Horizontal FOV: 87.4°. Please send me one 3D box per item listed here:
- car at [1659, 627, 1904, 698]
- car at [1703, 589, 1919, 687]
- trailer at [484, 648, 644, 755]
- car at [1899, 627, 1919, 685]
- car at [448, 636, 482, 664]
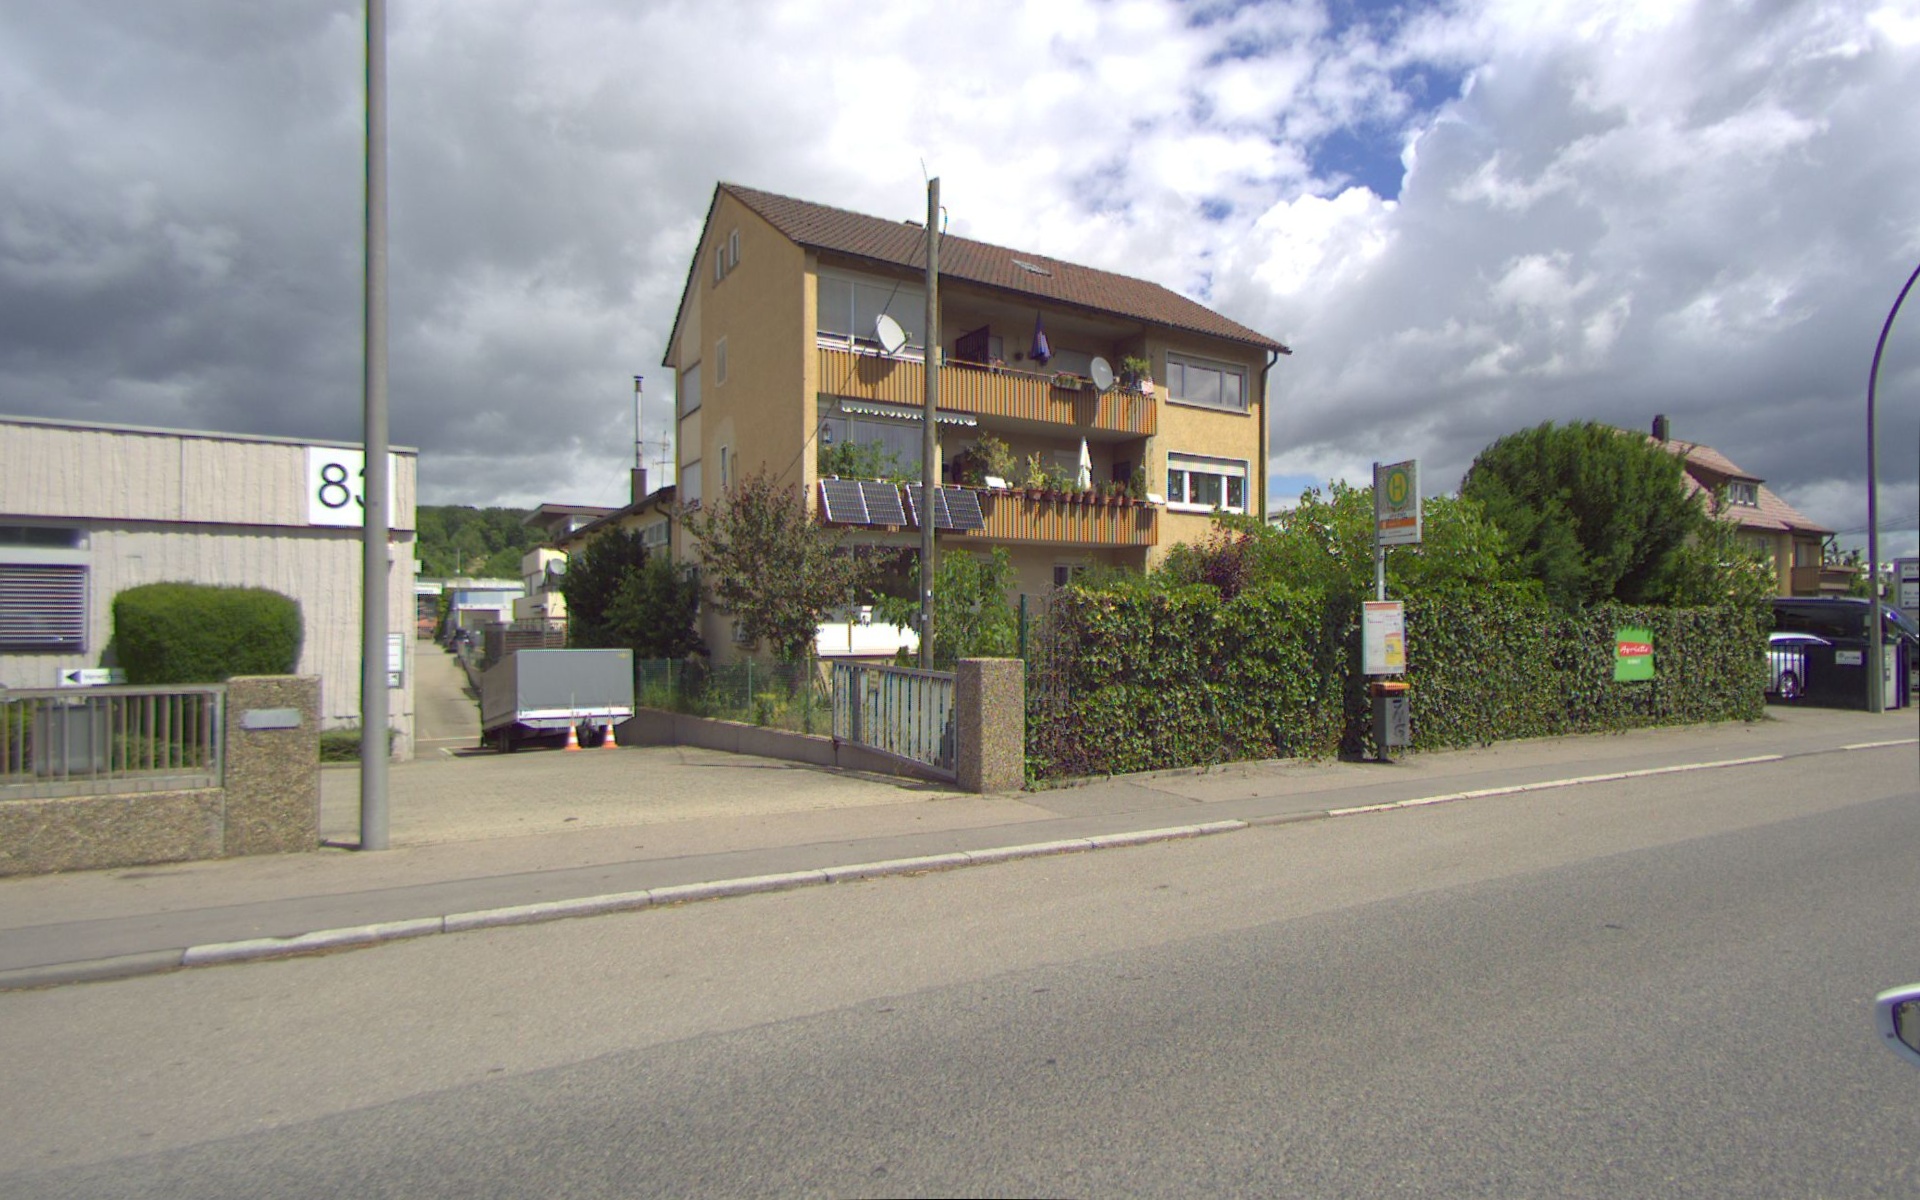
[{"bbox_3d":[19.072,1.411,23.330,5.258,1.505,1.992,1,-2,-20],"label":"car"},{"bbox_3d":[24.823,1.051,28.105,2.448,2.529,6.010,1,-2,-29],"label":"car"},{"bbox_3d":[-8.310,2.161,20.841,2.432,1.908,3.970,1,-8,-32],"label":"trailer"},{"bbox_3d":[28.926,1.593,28.776,4.238,1.616,2.020,1,-2,-33],"label":"car"},{"bbox_3d":[-37.750,3.804,76.517,1.977,2.040,3.968,-1,-2,-31],"label":"car"}]
